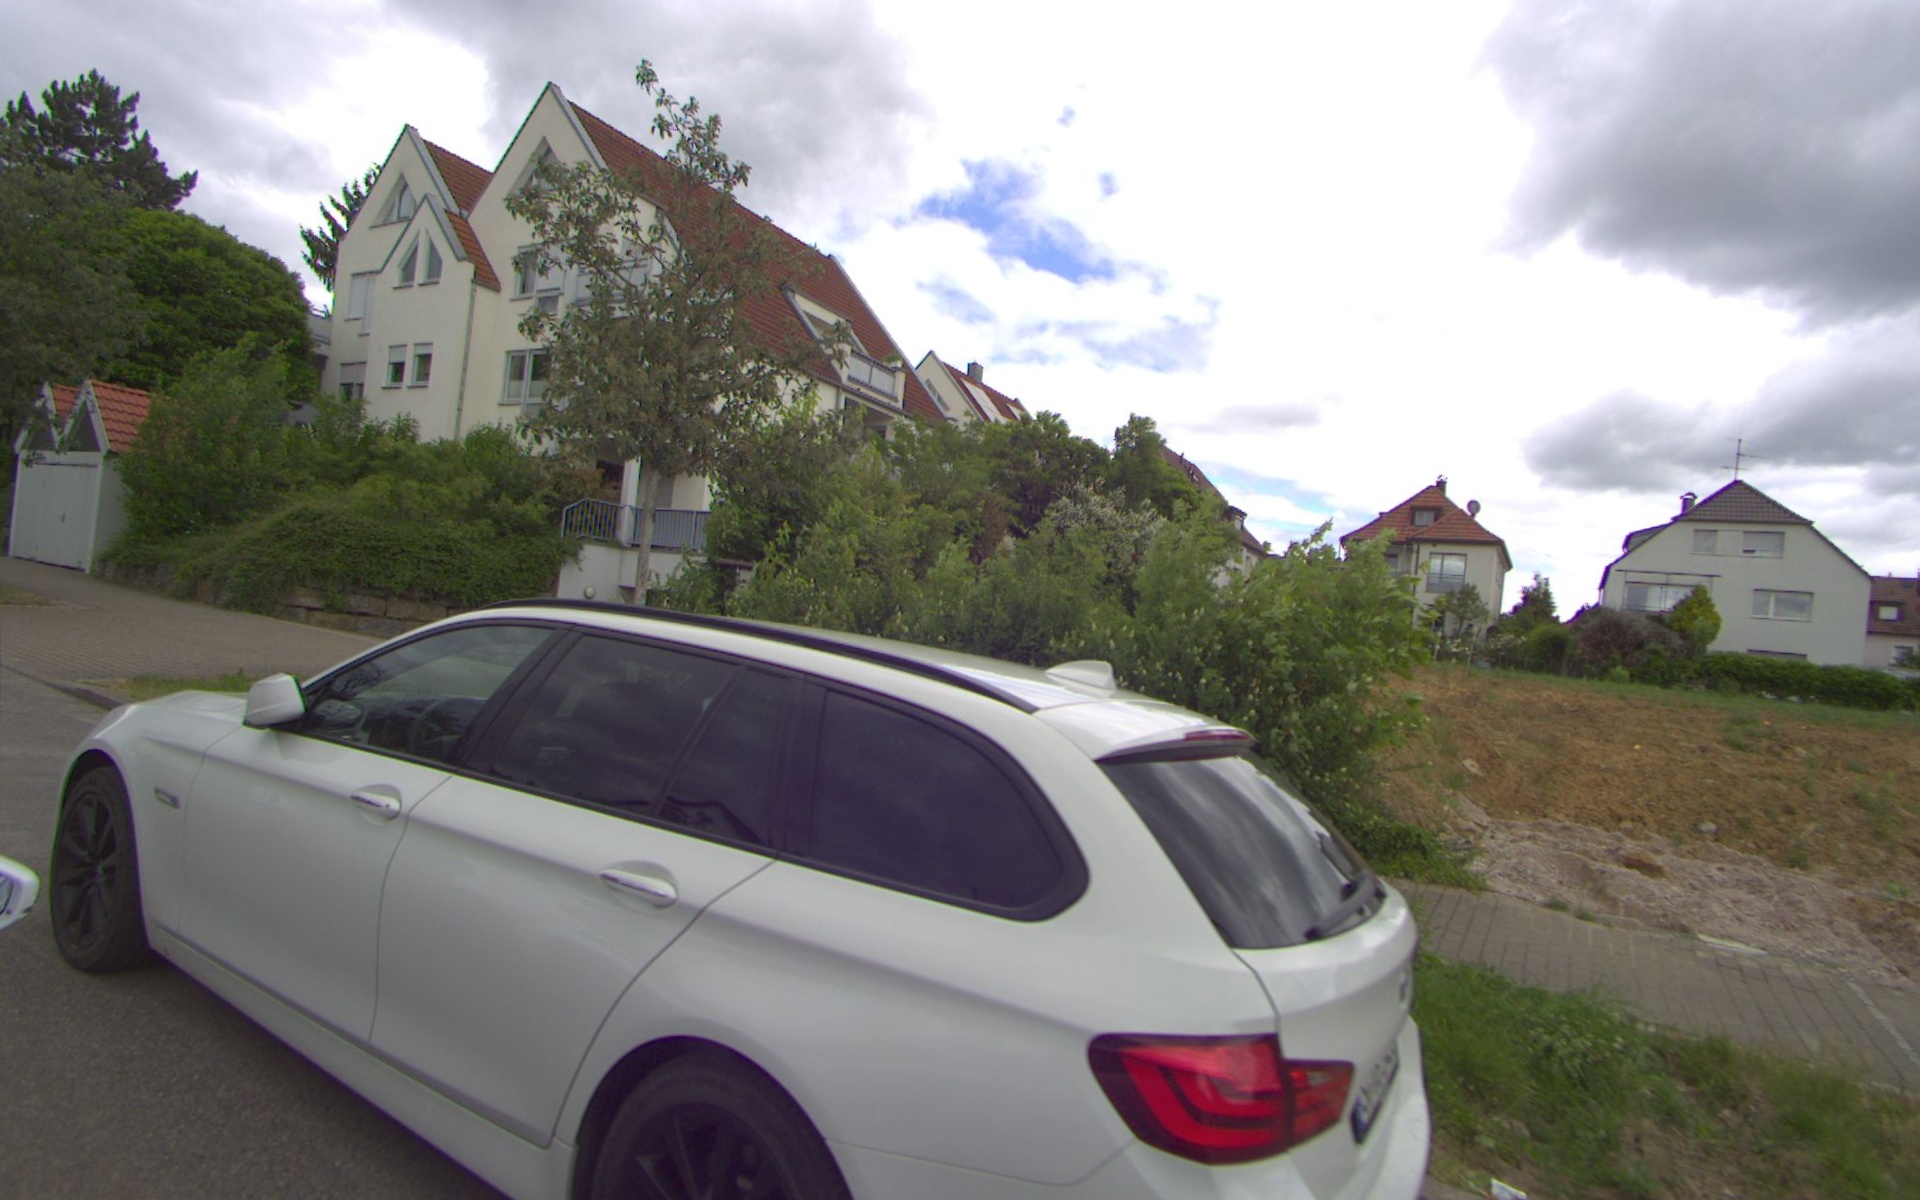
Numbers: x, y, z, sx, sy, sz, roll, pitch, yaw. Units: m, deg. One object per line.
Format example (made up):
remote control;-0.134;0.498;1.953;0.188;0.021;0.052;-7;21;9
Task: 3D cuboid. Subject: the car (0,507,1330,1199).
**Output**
car;-1.270;0.701;3.350;4.331;1.470;1.697;7;-2;32
